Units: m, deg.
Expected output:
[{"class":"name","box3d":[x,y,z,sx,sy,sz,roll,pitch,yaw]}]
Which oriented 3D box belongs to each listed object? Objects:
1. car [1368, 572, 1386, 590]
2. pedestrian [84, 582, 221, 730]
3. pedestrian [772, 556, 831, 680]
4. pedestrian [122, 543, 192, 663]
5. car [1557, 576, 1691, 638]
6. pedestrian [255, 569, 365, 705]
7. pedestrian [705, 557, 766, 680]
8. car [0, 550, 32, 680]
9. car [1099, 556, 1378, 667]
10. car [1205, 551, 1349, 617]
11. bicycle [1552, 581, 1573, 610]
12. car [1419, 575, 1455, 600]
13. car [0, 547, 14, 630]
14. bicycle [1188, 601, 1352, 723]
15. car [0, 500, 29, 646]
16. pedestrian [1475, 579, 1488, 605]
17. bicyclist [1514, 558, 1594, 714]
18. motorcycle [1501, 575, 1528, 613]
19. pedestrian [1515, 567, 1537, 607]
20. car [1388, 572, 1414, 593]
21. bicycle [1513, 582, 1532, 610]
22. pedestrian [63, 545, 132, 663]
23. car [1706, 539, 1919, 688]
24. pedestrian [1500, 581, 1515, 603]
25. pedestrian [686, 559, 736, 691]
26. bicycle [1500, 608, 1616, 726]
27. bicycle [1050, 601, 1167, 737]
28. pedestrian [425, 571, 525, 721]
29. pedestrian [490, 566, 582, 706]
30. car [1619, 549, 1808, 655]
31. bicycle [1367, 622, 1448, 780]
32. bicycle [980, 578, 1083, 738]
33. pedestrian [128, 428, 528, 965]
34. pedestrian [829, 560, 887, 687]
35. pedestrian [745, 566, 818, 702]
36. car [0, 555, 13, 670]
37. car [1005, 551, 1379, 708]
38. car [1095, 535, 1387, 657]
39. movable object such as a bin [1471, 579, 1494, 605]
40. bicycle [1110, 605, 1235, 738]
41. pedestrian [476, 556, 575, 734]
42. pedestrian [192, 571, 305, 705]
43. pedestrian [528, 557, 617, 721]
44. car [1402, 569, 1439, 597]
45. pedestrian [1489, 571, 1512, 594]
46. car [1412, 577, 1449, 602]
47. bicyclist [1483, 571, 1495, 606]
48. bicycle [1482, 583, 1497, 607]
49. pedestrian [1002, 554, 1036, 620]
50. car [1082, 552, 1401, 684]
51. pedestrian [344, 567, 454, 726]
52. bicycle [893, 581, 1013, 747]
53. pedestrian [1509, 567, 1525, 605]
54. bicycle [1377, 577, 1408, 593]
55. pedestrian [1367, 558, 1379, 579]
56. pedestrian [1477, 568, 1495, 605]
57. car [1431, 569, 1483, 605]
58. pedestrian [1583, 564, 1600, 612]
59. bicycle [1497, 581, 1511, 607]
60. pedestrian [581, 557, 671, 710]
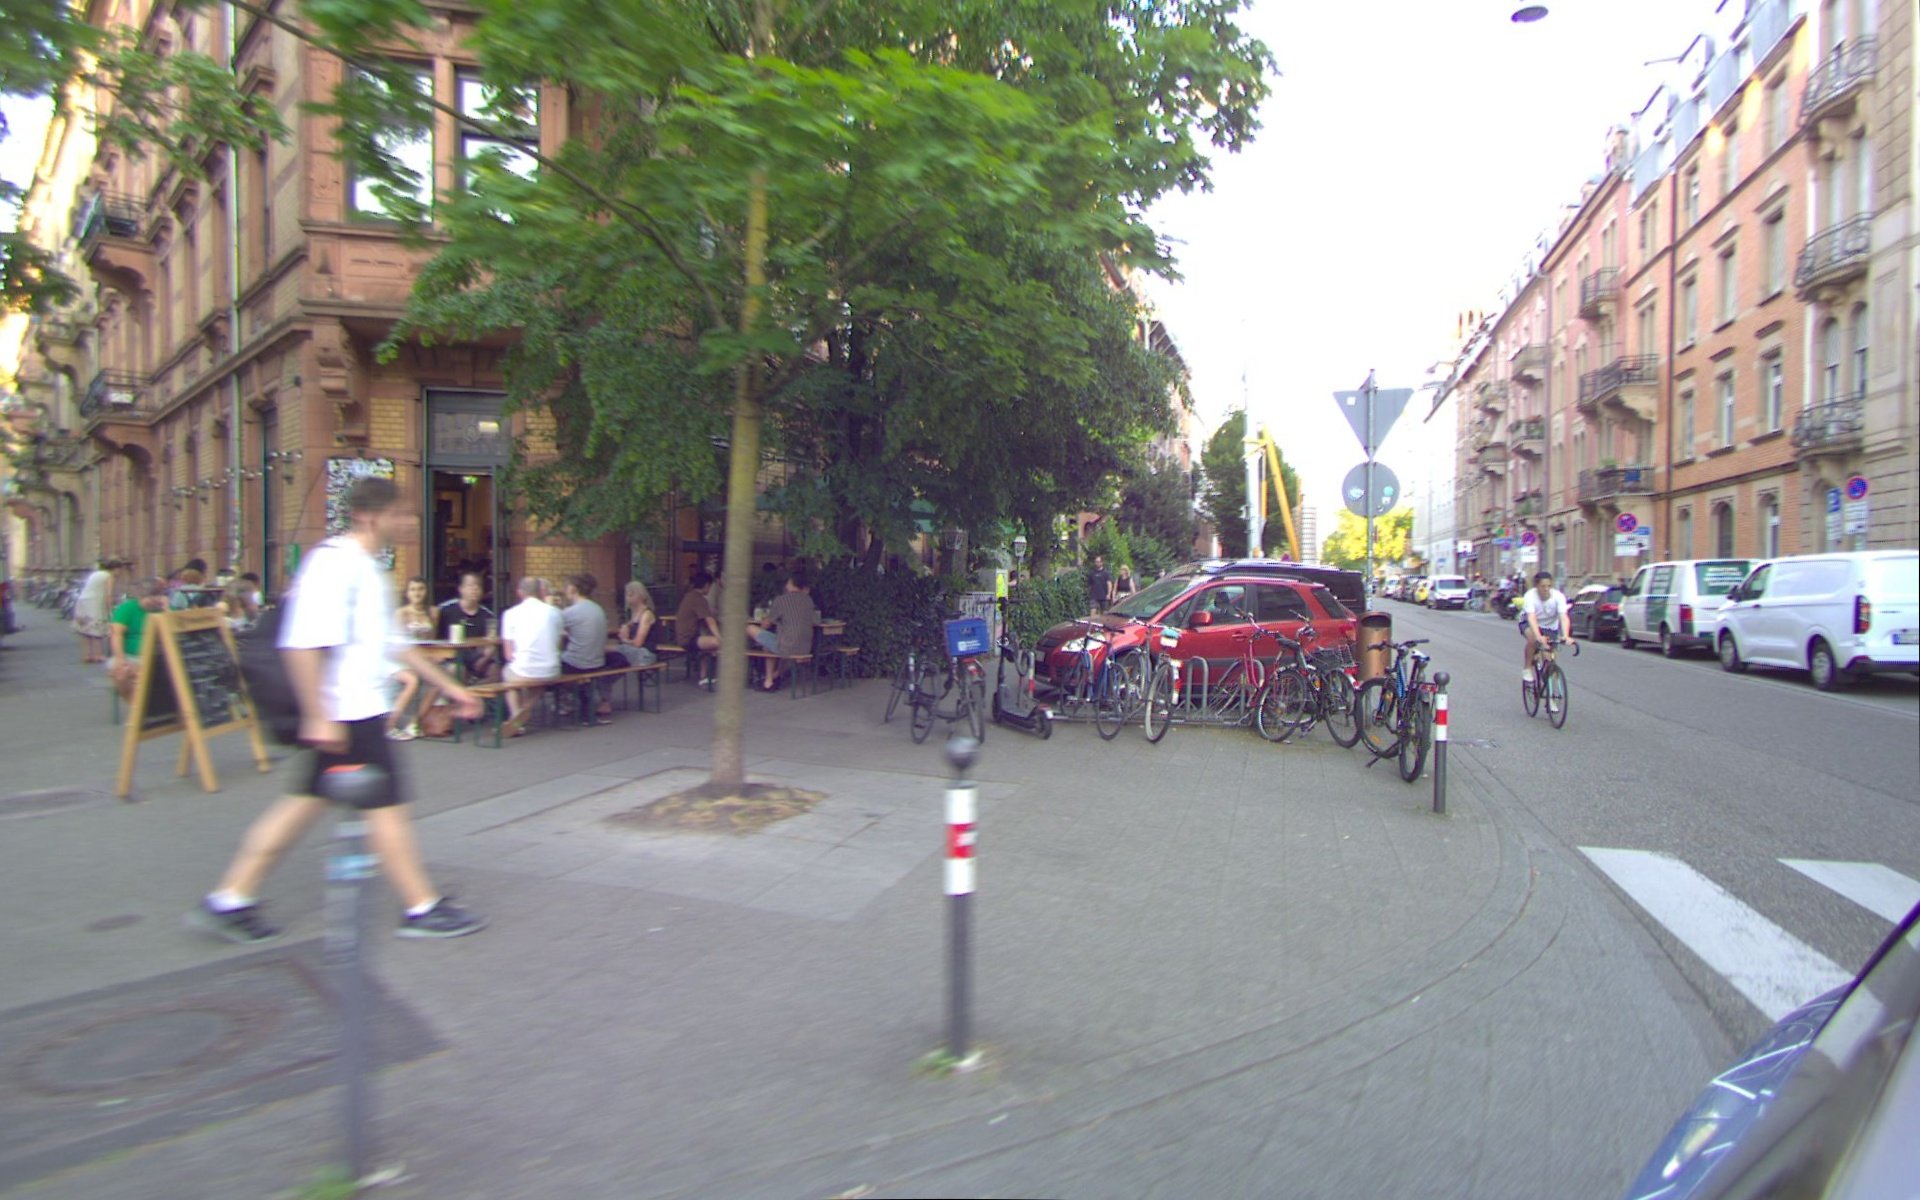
[{"class":"car","box3d":[47.322,-2.147,114.923,1.765,1.894,4.428,-1,2,21]},{"class":"pedestrian","box3d":[-7.239,0.474,9.092,0.620,1.247,0.735,-1,1,23]},{"class":"pedestrian","box3d":[-1.868,0.203,11.962,0.545,1.426,0.513,-1,1,7]},{"class":"pedestrian","box3d":[-11.772,0.026,14.832,0.734,1.698,0.765,-2,1,-41]},{"class":"car","box3d":[17.279,0.111,26.563,1.818,1.489,4.150,0,1,17]},{"class":"pedestrian","box3d":[-6.833,0.365,10.659,0.620,1.362,0.735,-1,1,23]},{"class":"pedestrian","box3d":[-2.671,0.208,12.081,0.505,1.426,0.618,-1,1,7]},{"class":"car","box3d":[-13.402,0.233,11.438,4.224,1.545,1.906,-3,2,-45]},{"class":"car","box3d":[4.747,0.183,17.467,4.135,1.642,1.938,3,1,-14]},{"class":"car","box3d":[12.168,-0.623,38.982,4.839,2.392,2.003,1,1,-6]},{"class":"bicycle","box3d":[25.323,-0.190,42.540,0.408,1.174,1.826,-1,1,20]},{"class":"car","box3d":[29.603,-0.803,62.881,1.690,1.549,3.767,0,1,21]},{"class":"car","box3d":[-23.053,-0.185,21.291,1.993,1.807,4.474,0,2,43]},{"class":"bicycle","box3d":[3.161,0.620,10.394,1.525,1.175,0.365,1,1,6]},{"class":"car","box3d":[-18.603,-0.375,16.042,2.237,2.450,5.460,0,2,42]},{"class":"pedestrian","box3d":[26.026,-0.388,50.548,0.473,1.266,0.648,-1,1,20]},{"class":"bicyclist","box3d":[6.772,0.388,11.566,0.520,1.725,0.787,-1,1,9]},{"class":"motorcycle","box3d":[21.606,-0.253,39.459,0.679,1.422,2.000,-1,1,22]},{"class":"pedestrian","box3d":[26.351,-0.633,47.143,0.674,1.833,0.957,-1,1,15]},{"class":"car","box3d":[37.403,-1.480,85.846,1.709,1.668,3.892,-1,1,19]},{"class":"bicycle","box3d":[24.095,-0.187,43.356,0.408,1.174,1.826,-1,1,20]},{"class":"pedestrian","box3d":[-12.924,0.041,15.171,0.734,1.698,0.765,-2,1,-41]},{"class":"car","box3d":[13.619,0.118,15.431,2.088,1.945,4.998,0,1,18]},{"class":"pedestrian","box3d":[29.250,-0.421,54.075,0.625,1.154,0.570,-1,1,18]},{"class":"pedestrian","box3d":[-2.791,0.261,11.355,0.503,1.426,0.621,-1,1,-13]},{"class":"bicycle","box3d":[6.773,0.719,11.555,0.512,1.169,1.778,-1,1,9]},{"class":"bicycle","box3d":[1.344,0.593,9.516,0.587,1.076,1.772,2,2,-7]},{"class":"pedestrian","box3d":[-4.338,0.390,9.077,0.539,1.285,0.570,-1,1,21]},{"class":"pedestrian","box3d":[-4.047,0.323,9.677,0.539,1.285,0.570,-1,1,21]},{"class":"car","box3d":[15.496,-0.035,21.147,1.820,1.945,4.814,0,1,20]},{"class":"bicycle","box3d":[3.587,0.758,8.187,0.360,1.076,1.545,-1,1,15]},{"class":"bicycle","box3d":[0.614,0.464,9.283,0.587,1.304,1.772,-1,1,-7]},{"class":"pedestrian","box3d":[-2.359,0.320,3.889,0.933,1.792,0.866,-1,1,11]},{"class":"pedestrian","box3d":[-1.177,0.263,11.735,0.545,1.426,0.513,-1,1,7]},{"class":"pedestrian","box3d":[-1.911,0.351,10.869,0.628,1.426,0.513,-1,1,7]},{"class":"car","box3d":[-14.997,0.227,12.902,4.224,1.545,1.906,-3,2,-45]},{"class":"car","box3d":[2.700,0.343,12.113,3.964,1.648,1.696,2,0,-12]},{"class":"car","box3d":[5.581,-0.058,20.160,5.322,2.098,1.938,2,1,-18]},{"class":"movable object such as a bin","box3d":[26.032,-0.385,50.433,0.879,1.266,0.771,-1,1,20]},{"class":"bicycle","box3d":[1.962,0.620,9.584,0.587,1.076,1.772,-1,1,-7]},{"class":"pedestrian","box3d":[-3.526,0.350,8.228,0.539,1.397,0.464,-1,1,18]},{"class":"pedestrian","box3d":[-7.527,0.378,10.721,0.620,1.362,0.735,-1,1,23]},{"class":"pedestrian","box3d":[-3.410,0.328,8.930,0.539,1.397,0.464,-1,1,18]},{"class":"car","box3d":[32.743,-1.205,72.059,1.908,1.906,4.877,0,1,18]},{"class":"pedestrian","box3d":[29.601,-0.953,55.419,1.028,1.218,0.500,-1,1,18]},{"class":"car","box3d":[31.129,-0.741,66.997,1.910,1.616,3.943,0,1,21]},{"class":"bicyclist","box3d":[24.549,-0.527,46.975,0.462,1.610,0.484,-1,1,23]},{"class":"bicycle","box3d":[24.458,-0.234,46.746,0.462,1.081,1.509,-1,1,22]},{"class":"pedestrian","box3d":[1.272,-0.281,21.777,0.581,1.383,0.694,-1,1,16]},{"class":"car","box3d":[4.158,0.261,15.106,4.135,1.709,1.938,2,1,-18]},{"class":"pedestrian","box3d":[-4.708,0.369,8.511,0.539,1.285,0.570,-1,1,21]},{"class":"bicycle","box3d":[-0.107,0.491,8.881,0.586,1.304,1.727,0,1,-17]},{"class":"pedestrian","box3d":[27.103,-0.684,49.228,0.596,1.836,0.711,0,1,38]},{"class":"bicycle","box3d":[40.880,-1.413,95.621,2.604,1.416,0.594,0,1,33]},{"class":"pedestrian","box3d":[56.440,-4.305,138.418,1.427,2.774,1.006,-1,1,19]},{"class":"pedestrian","box3d":[25.853,-0.672,49.767,0.590,1.836,0.718,-1,1,11]},{"class":"car","box3d":[26.154,-0.710,53.406,1.752,1.811,4.563,0,2,17]},{"class":"pedestrian","box3d":[24.271,-0.456,38.900,0.459,1.811,0.637,-1,1,23]},{"class":"bicycle","box3d":[25.476,-0.280,47.391,0.462,1.169,1.983,-1,1,26]},{"class":"pedestrian","box3d":[-3.163,0.295,9.595,0.541,1.397,0.569,-1,1,27]}]
